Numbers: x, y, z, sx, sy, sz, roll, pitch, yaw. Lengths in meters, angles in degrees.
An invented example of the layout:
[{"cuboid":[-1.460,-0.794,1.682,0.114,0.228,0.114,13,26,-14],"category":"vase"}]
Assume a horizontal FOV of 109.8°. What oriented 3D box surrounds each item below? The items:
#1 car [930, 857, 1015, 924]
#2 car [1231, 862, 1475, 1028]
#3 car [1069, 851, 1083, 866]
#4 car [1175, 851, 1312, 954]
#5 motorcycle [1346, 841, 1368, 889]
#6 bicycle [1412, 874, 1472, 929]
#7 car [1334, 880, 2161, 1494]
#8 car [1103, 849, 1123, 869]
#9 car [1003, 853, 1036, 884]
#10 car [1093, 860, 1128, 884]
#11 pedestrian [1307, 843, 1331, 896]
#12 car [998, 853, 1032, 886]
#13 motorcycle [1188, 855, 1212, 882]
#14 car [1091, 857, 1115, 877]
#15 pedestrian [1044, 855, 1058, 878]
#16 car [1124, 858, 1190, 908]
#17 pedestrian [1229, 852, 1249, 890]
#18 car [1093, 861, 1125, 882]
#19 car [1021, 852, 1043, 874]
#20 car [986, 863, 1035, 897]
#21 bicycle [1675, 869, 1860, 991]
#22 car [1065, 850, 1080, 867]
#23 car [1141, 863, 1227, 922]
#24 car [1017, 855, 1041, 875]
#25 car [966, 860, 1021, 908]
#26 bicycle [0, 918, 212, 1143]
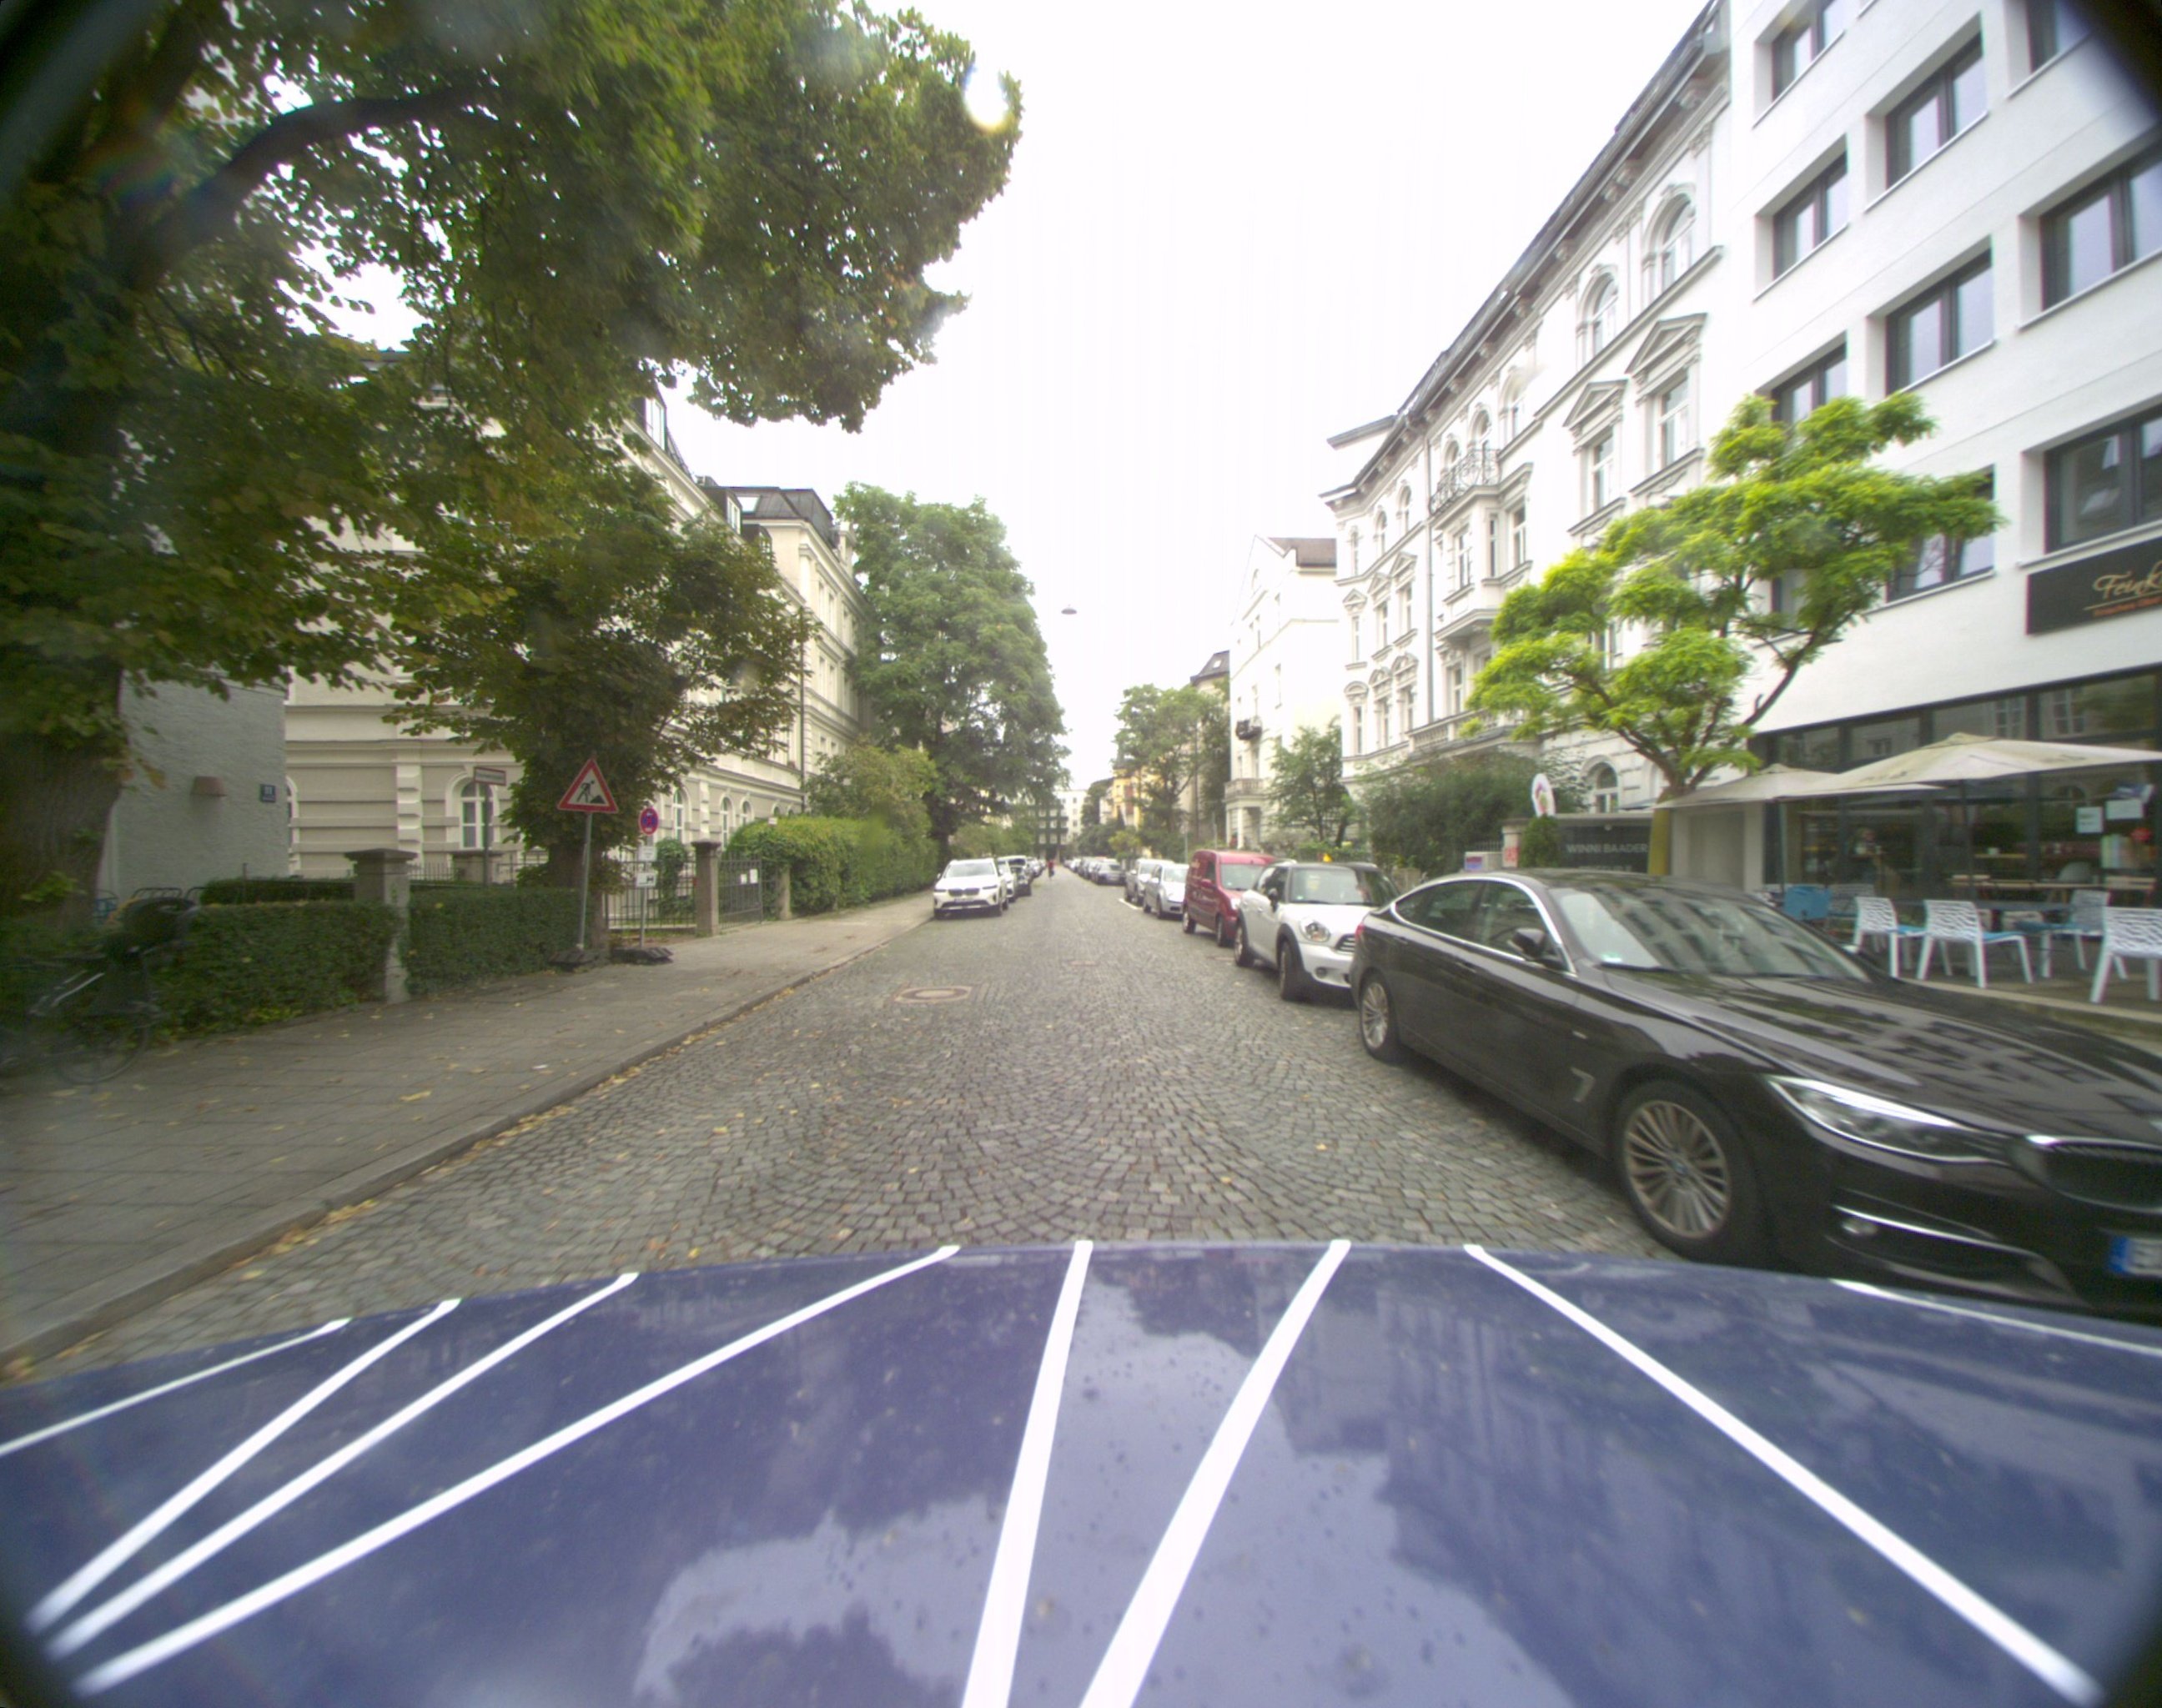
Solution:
[{"cuboid":[-3.135,0.998,22.791,1.925,1.676,4.632,-1,1,-1],"category":"car"},{"cuboid":[2.997,0.908,9.233,1.697,1.495,3.777,-2,0,2],"category":"car"},{"cuboid":[-0.659,0.590,102.461,1.791,2.002,3.214,-2,1,-1],"category":"car"},{"cuboid":[2.978,0.812,14.749,1.722,1.713,3.897,0,0,-2],"category":"car"},{"cuboid":[7.129,0.261,19.671,0.331,1.173,1.627,-1,1,14],"category":"motorcycle"},{"cuboid":[7.504,0.960,15.875,0.258,1.072,1.685,-2,-1,-6],"category":"bicycle"},{"cuboid":[3.072,0.965,4.240,1.730,1.456,4.472,1,0,-1],"category":"car"},{"cuboid":[3.259,0.526,78.781,1.763,2.002,3.999,-2,1,-1],"category":"car"},{"cuboid":[-4.192,0.969,52.465,1.999,2.002,3.999,-2,1,-2],"category":"car"},{"cuboid":[1.854,1.147,49.194,1.886,1.410,4.808,0,0,-2],"category":"car"},{"cuboid":[7.504,0.480,23.972,0.577,1.637,0.822,0,0,5],"category":"pedestrian"},{"cuboid":[-4.050,0.924,47.377,1.819,1.809,4.807,-5,1,-3],"category":"car"},{"cuboid":[6.549,0.784,41.904,0.738,1.420,2.244,-3,1,-4],"category":"motorcycle"},{"cuboid":[1.732,1.029,61.588,1.714,1.416,3.999,-2,0,-1],"category":"car"},{"cuboid":[-2.429,1.016,61.383,1.106,1.768,1.263,-2,1,-1],"category":"pedestrian"},{"cuboid":[2.622,0.959,27.117,1.694,1.563,4.066,-2,0,-3],"category":"car"},{"cuboid":[6.964,0.748,33.476,0.665,1.618,0.670,-1,1,30],"category":"pedestrian"},{"cuboid":[1.949,1.227,54.108,1.999,1.324,3.999,-2,0,-1],"category":"car"},{"cuboid":[-4.769,0.831,74.504,1.999,2.002,3.999,-2,1,-1],"category":"car"},{"cuboid":[-3.139,1.144,34.733,1.924,1.290,4.807,-2,0,-2],"category":"car"},{"cuboid":[7.642,0.786,8.586,0.361,1.168,1.911,-2,1,0],"category":"bicycle"},{"cuboid":[-1.092,0.545,92.515,1.763,2.002,3.999,-2,1,-1],"category":"car"},{"cuboid":[2.744,0.993,21.023,1.636,1.386,3.814,-2,0,-3],"category":"car"},{"cuboid":[-4.729,0.981,69.476,1.999,1.705,3.999,-2,0,-1],"category":"car"},{"cuboid":[-3.332,1.090,29.530,1.752,1.591,4.470,-2,0,-2],"category":"car"},{"cuboid":[-6.481,1.076,4.598,0.429,1.191,1.730,4,1,-1],"category":"bicycle"}]
